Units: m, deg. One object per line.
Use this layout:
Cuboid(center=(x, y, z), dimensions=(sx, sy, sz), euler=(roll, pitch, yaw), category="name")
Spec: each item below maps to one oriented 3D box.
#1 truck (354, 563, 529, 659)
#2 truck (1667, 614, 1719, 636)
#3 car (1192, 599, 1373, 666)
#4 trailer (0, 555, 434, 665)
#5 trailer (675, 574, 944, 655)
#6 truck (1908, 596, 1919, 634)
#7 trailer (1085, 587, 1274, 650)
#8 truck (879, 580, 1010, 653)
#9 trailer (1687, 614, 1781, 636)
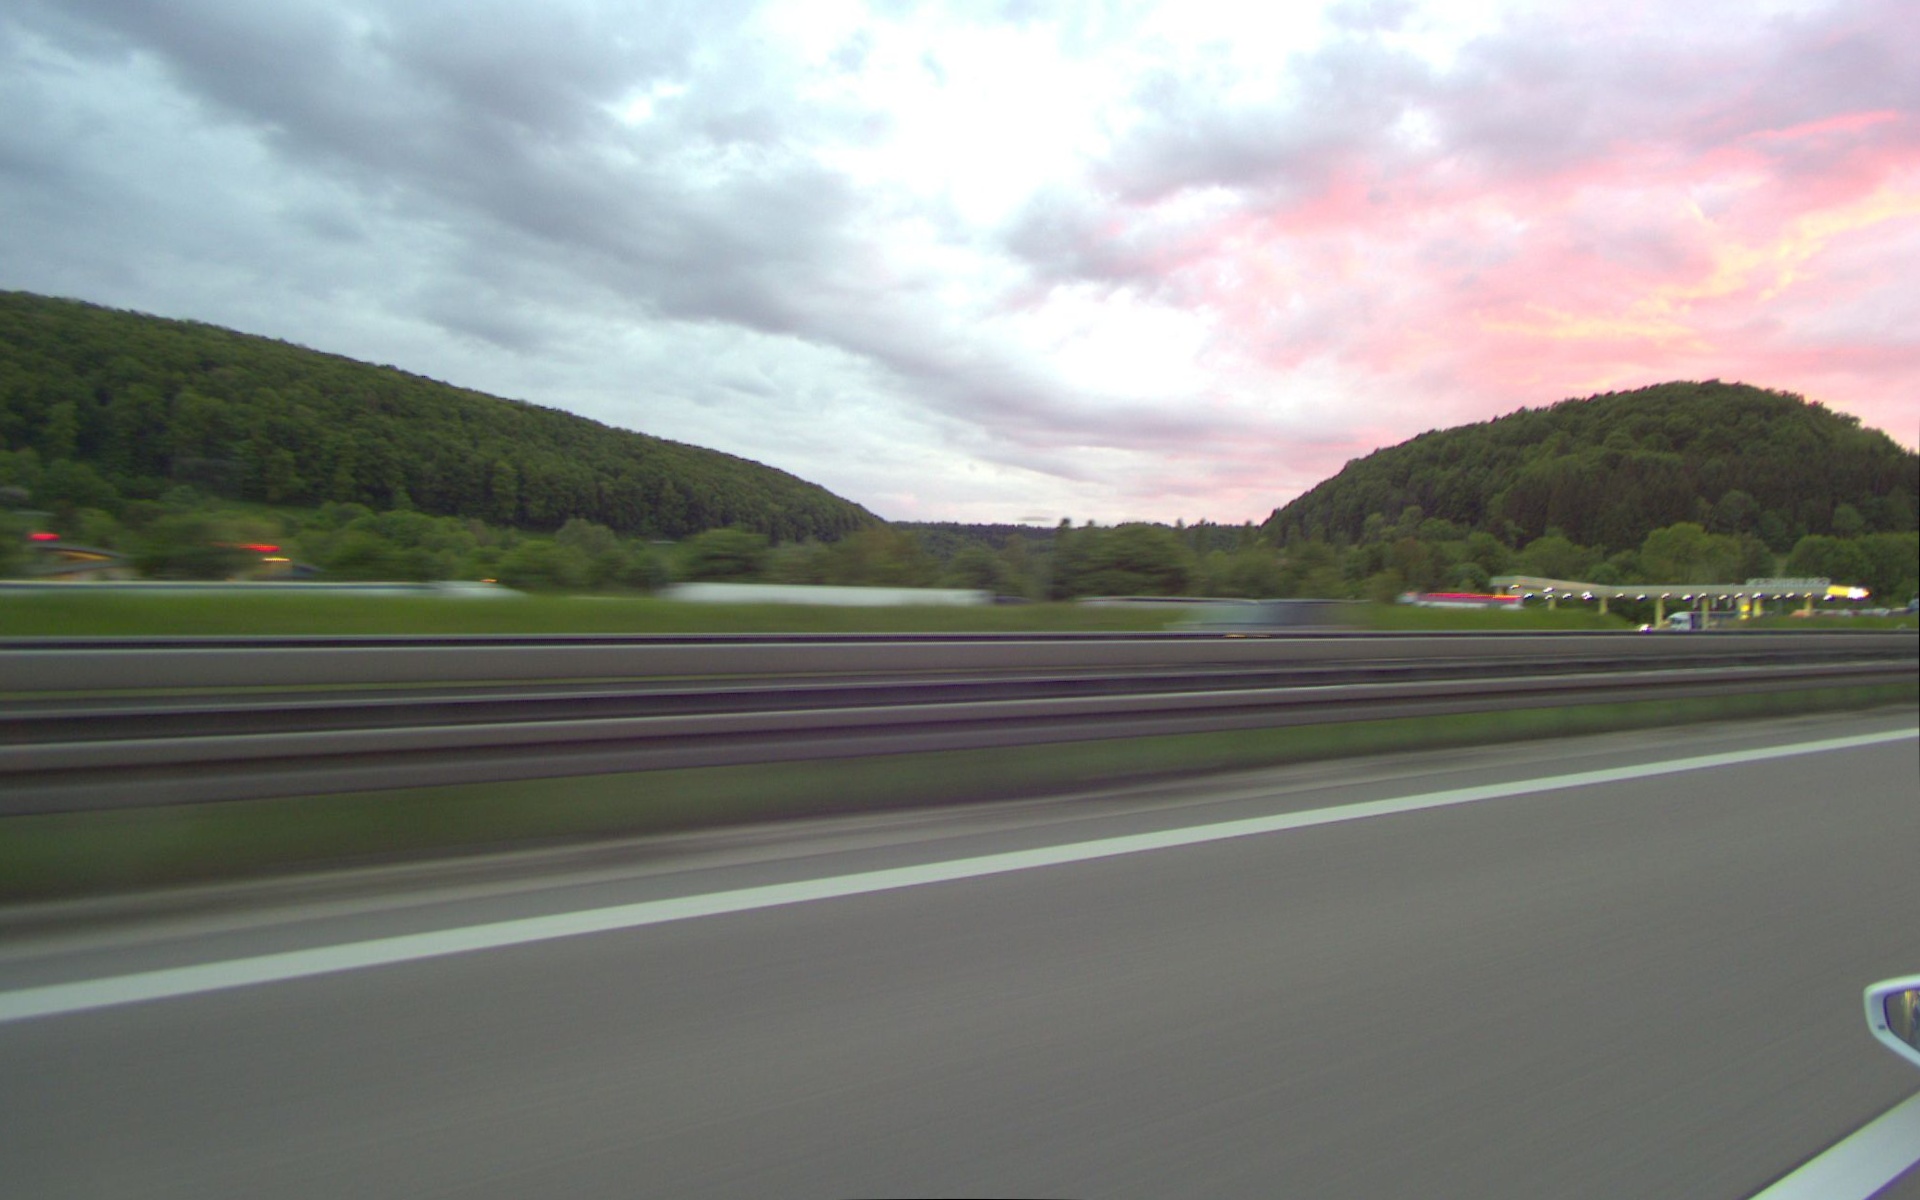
Cuboid(center=(-18.200, 0.407, 35.355), dimensions=(5.242, 3.129, 2.853), euler=(1, 0, -30), category="truck")
Cuboid(center=(123.670, 4.135, 169.480), dimensions=(6.578, 3.566, 2.942), euler=(1, 0, 3), category="truck")
Cuboid(center=(9.057, 0.916, 28.113), dimensions=(5.057, 1.723, 1.984), euler=(1, -3, -31), category="car")
Cuboid(center=(-23.437, 0.332, 32.186), dimensions=(11.588, 3.093, 2.860), euler=(1, 0, -30), category="trailer")
Cuboid(center=(-6.168, 0.647, 42.615), dimensions=(11.028, 3.129, 2.853), euler=(1, -1, -30), category="trailer")
Cuboid(center=(92.070, 1.442, 94.038), dimensions=(7.087, 3.421, 2.860), euler=(1, 1, -29), category="truck")
Cuboid(center=(11.856, 1.007, 53.579), dimensions=(11.036, 3.129, 2.851), euler=(1, -1, -32), category="trailer")
Cuboid(center=(-0.697, 0.755, 45.828), dimensions=(5.242, 3.129, 2.853), euler=(1, 0, -30), category="truck")
Cuboid(center=(130.273, 4.221, 169.091), dimensions=(13.149, 3.566, 2.942), euler=(1, 0, 3), category="trailer")
